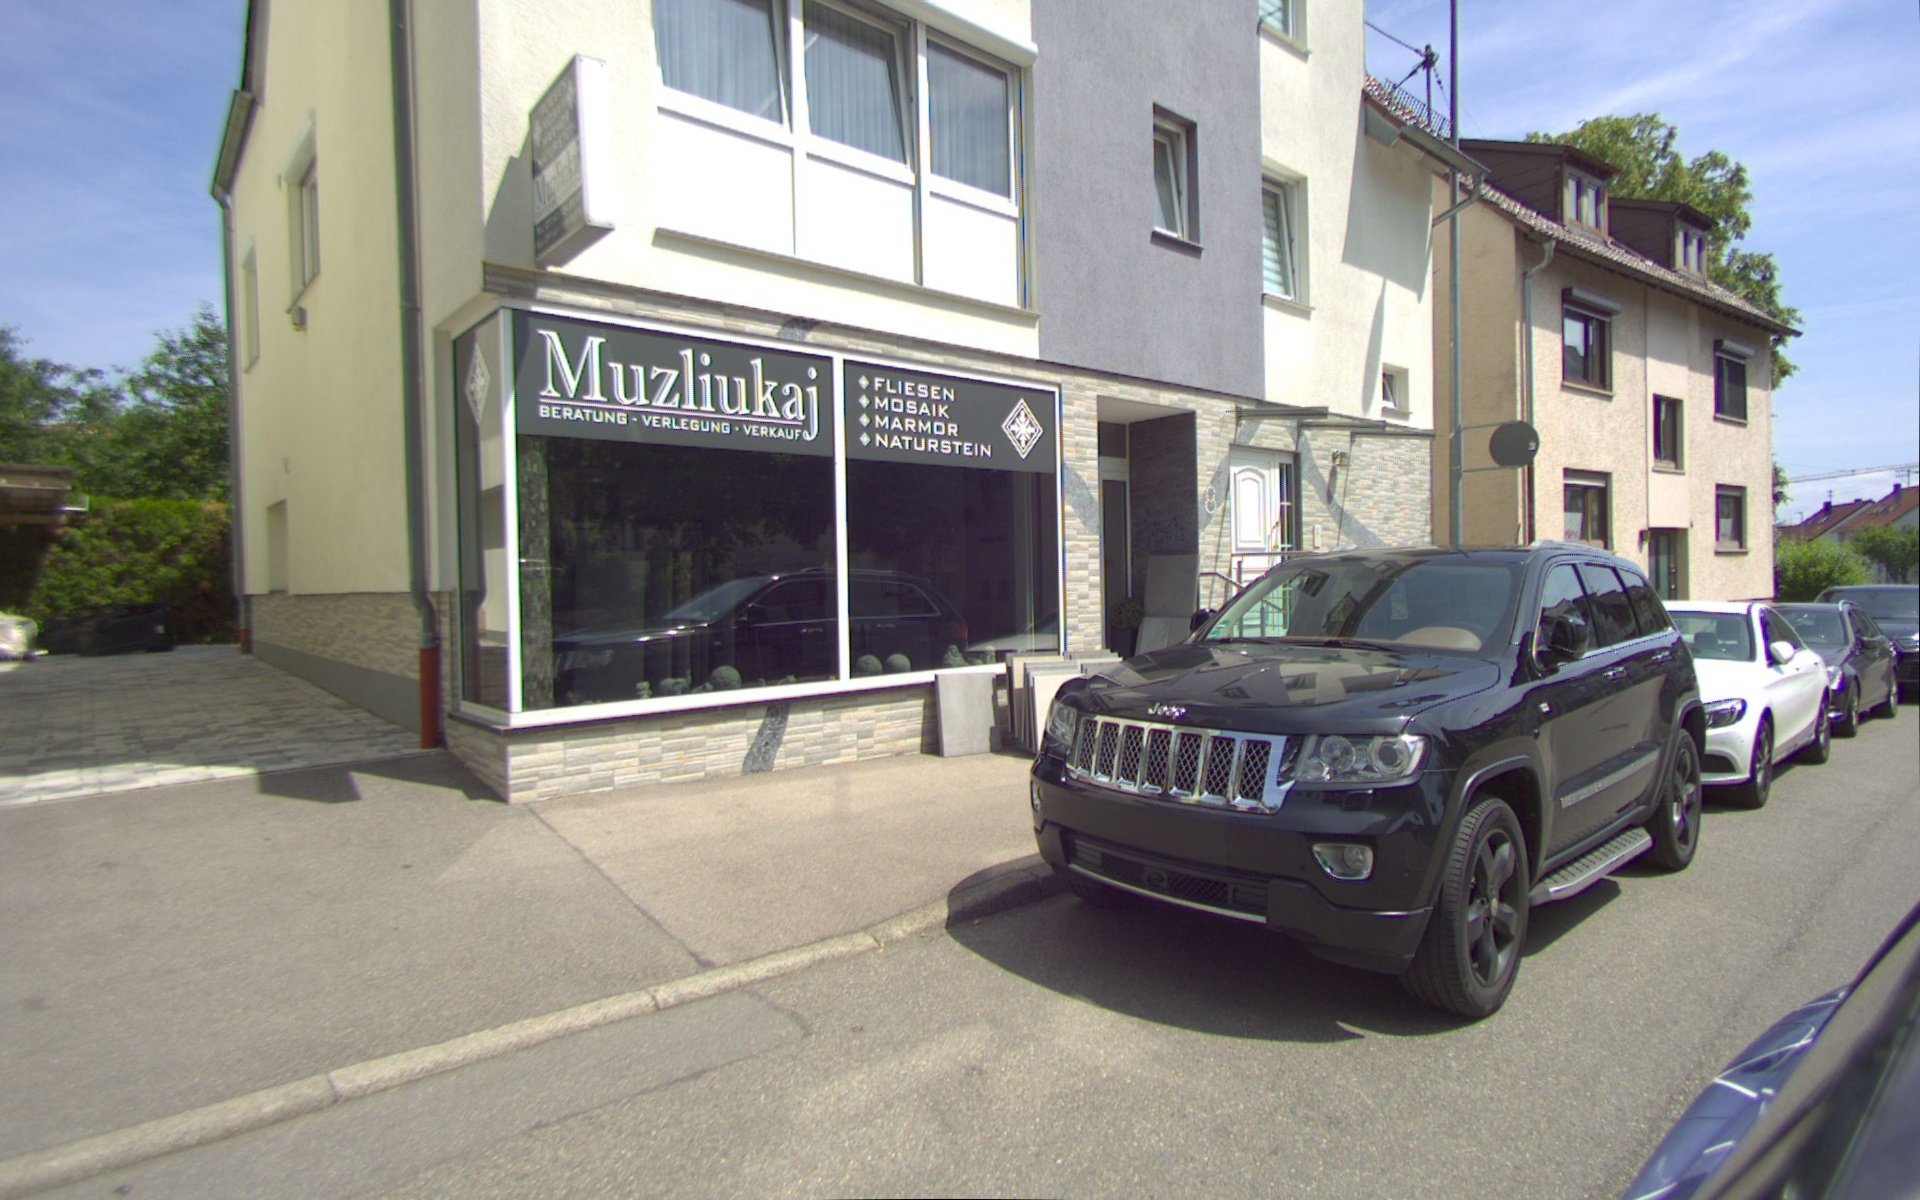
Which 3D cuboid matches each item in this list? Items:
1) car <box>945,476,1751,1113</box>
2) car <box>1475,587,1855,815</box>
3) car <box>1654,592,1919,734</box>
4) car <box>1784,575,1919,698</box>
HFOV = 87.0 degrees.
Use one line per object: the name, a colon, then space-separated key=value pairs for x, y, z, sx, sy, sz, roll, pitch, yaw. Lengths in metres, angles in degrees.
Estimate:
car: x=2.290 y=0.517 z=5.072 sx=4.637 sy=1.737 sz=1.956 roll=0 pitch=0 yaw=-43
car: x=6.295 y=0.638 z=8.790 sx=4.637 sy=1.474 sz=1.791 roll=0 pitch=0 yaw=-43
car: x=10.203 y=0.630 z=12.357 sx=4.281 sy=1.438 sz=1.792 roll=0 pitch=0 yaw=-40
car: x=14.592 y=0.470 z=15.813 sx=4.574 sy=1.691 sz=1.846 roll=-1 pitch=0 yaw=-40
